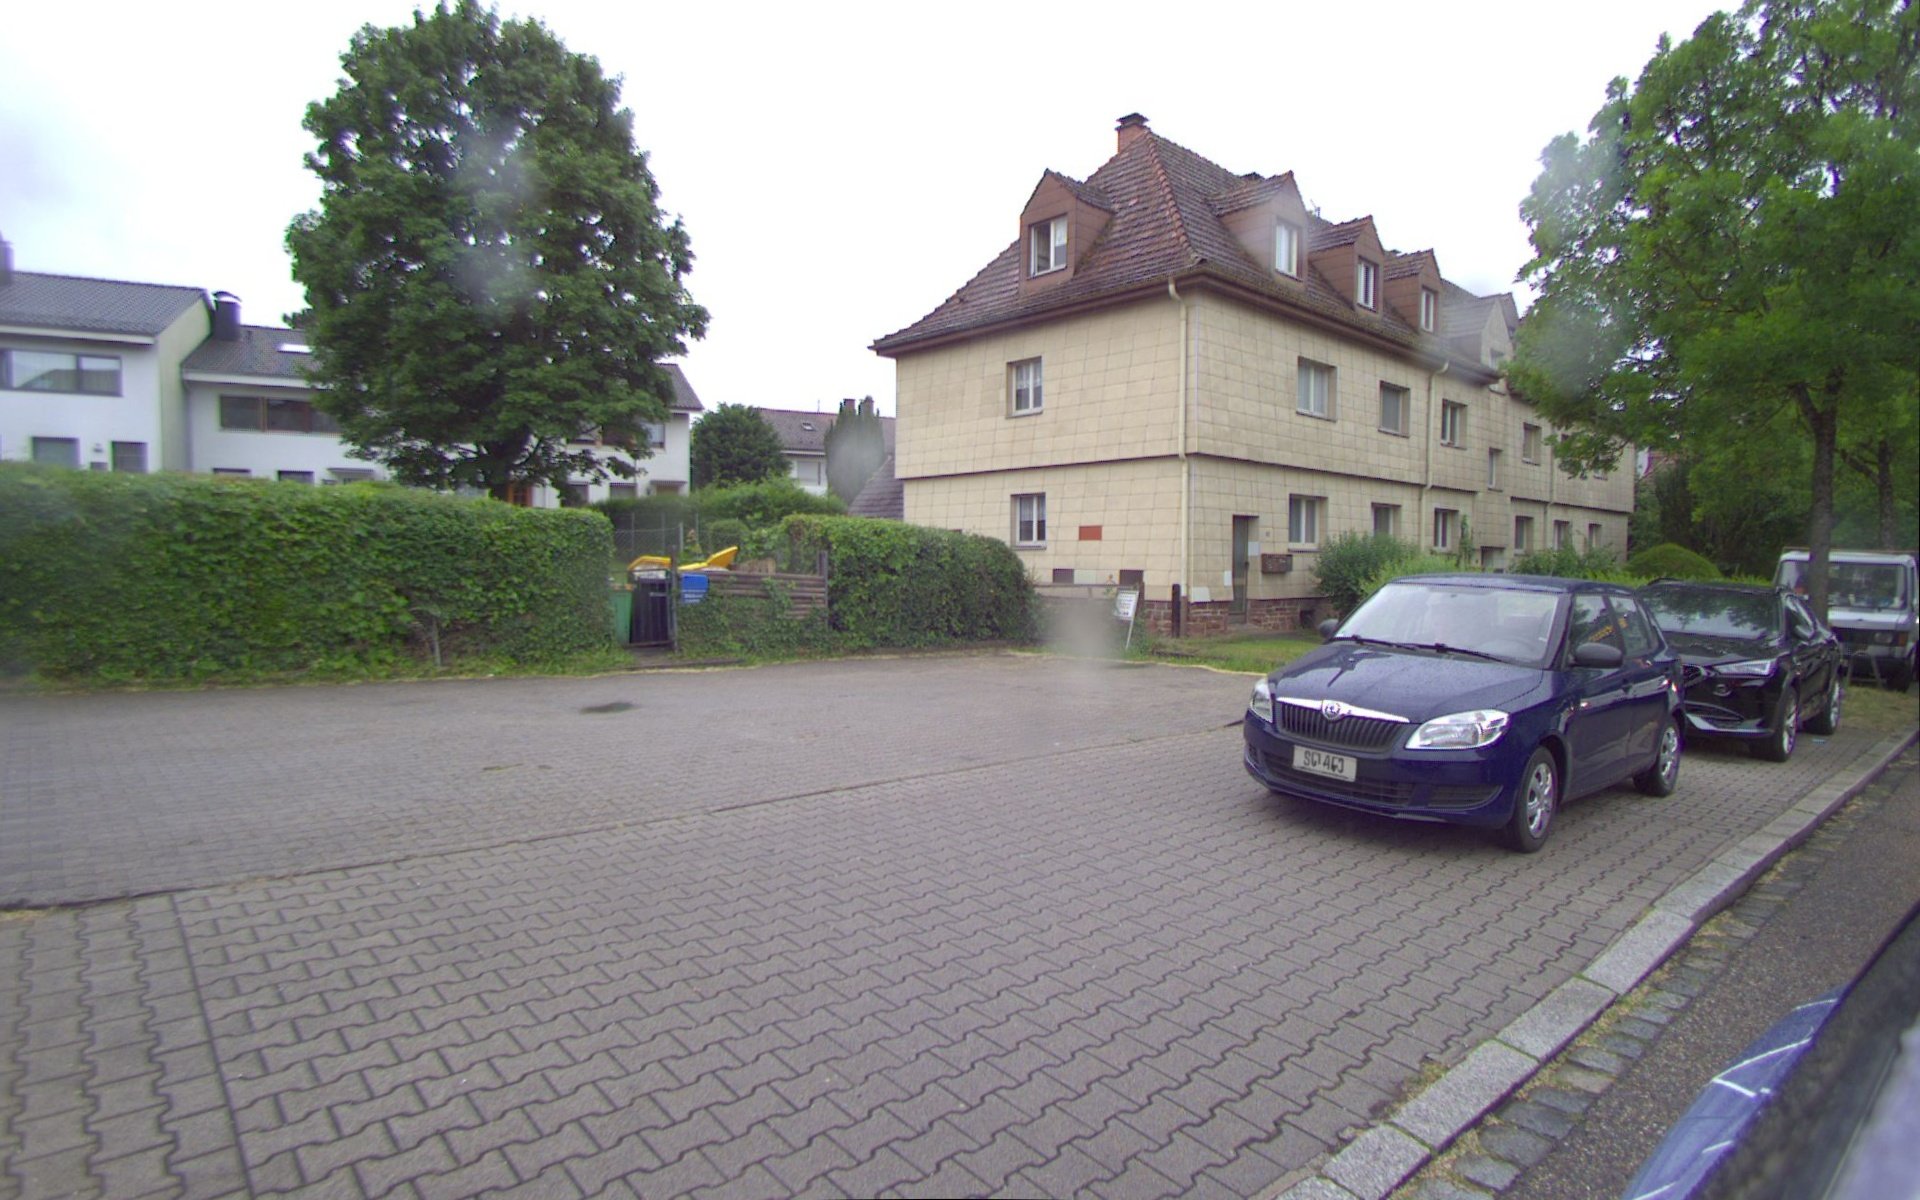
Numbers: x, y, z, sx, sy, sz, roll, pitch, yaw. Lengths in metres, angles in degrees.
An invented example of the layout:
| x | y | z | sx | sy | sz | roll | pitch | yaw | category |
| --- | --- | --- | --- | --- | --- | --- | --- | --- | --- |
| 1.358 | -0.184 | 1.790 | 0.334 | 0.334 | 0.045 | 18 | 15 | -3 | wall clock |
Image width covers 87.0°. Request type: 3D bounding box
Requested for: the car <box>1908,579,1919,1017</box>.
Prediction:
| x | y | z | sx | sy | sz | roll | pitch | yaw | category |
| --- | --- | --- | --- | --- | --- | --- | --- | --- | --- |
| 5.592 | 0.689 | 4.268 | 4.240 | 1.548 | 1.881 | 0 | -1 | -41 | car |

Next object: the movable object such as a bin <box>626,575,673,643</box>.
| x | y | z | sx | sy | sz | roll | pitch | yaw | category |
| --- | --- | --- | --- | --- | --- | --- | --- | --- | --- |
| -4.443 | 0.125 | 14.472 | 0.441 | 0.954 | 0.539 | 0 | 0 | -45 | movable object such as a bin |

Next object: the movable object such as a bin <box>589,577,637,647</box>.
| x | y | z | sx | sy | sz | roll | pitch | yaw | category |
| --- | --- | --- | --- | --- | --- | --- | --- | --- | --- |
| -4.842 | 0.158 | 14.120 | 0.441 | 0.954 | 0.539 | 0 | 0 | -45 | movable object such as a bin |

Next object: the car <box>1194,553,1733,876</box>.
| x | y | z | sx | sy | sz | roll | pitch | yaw | category |
| --- | --- | --- | --- | --- | --- | --- | --- | --- | --- |
| 3.444 | 0.480 | 6.605 | 3.930 | 1.441 | 1.719 | -1 | 4 | -41 | car |

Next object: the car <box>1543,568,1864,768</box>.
| x | y | z | sx | sy | sz | roll | pitch | yaw | category |
| --- | --- | --- | --- | --- | --- | --- | --- | --- | --- |
| 7.340 | 0.489 | 9.846 | 3.932 | 1.481 | 1.719 | -1 | 4 | -42 | car |

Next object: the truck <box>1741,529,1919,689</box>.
| x | y | z | sx | sy | sz | roll | pitch | yaw | category |
| --- | --- | --- | --- | --- | --- | --- | --- | --- | --- |
| 14.867 | 0.090 | 16.639 | 5.653 | 2.224 | 1.998 | 0 | 2 | -40 | truck |
